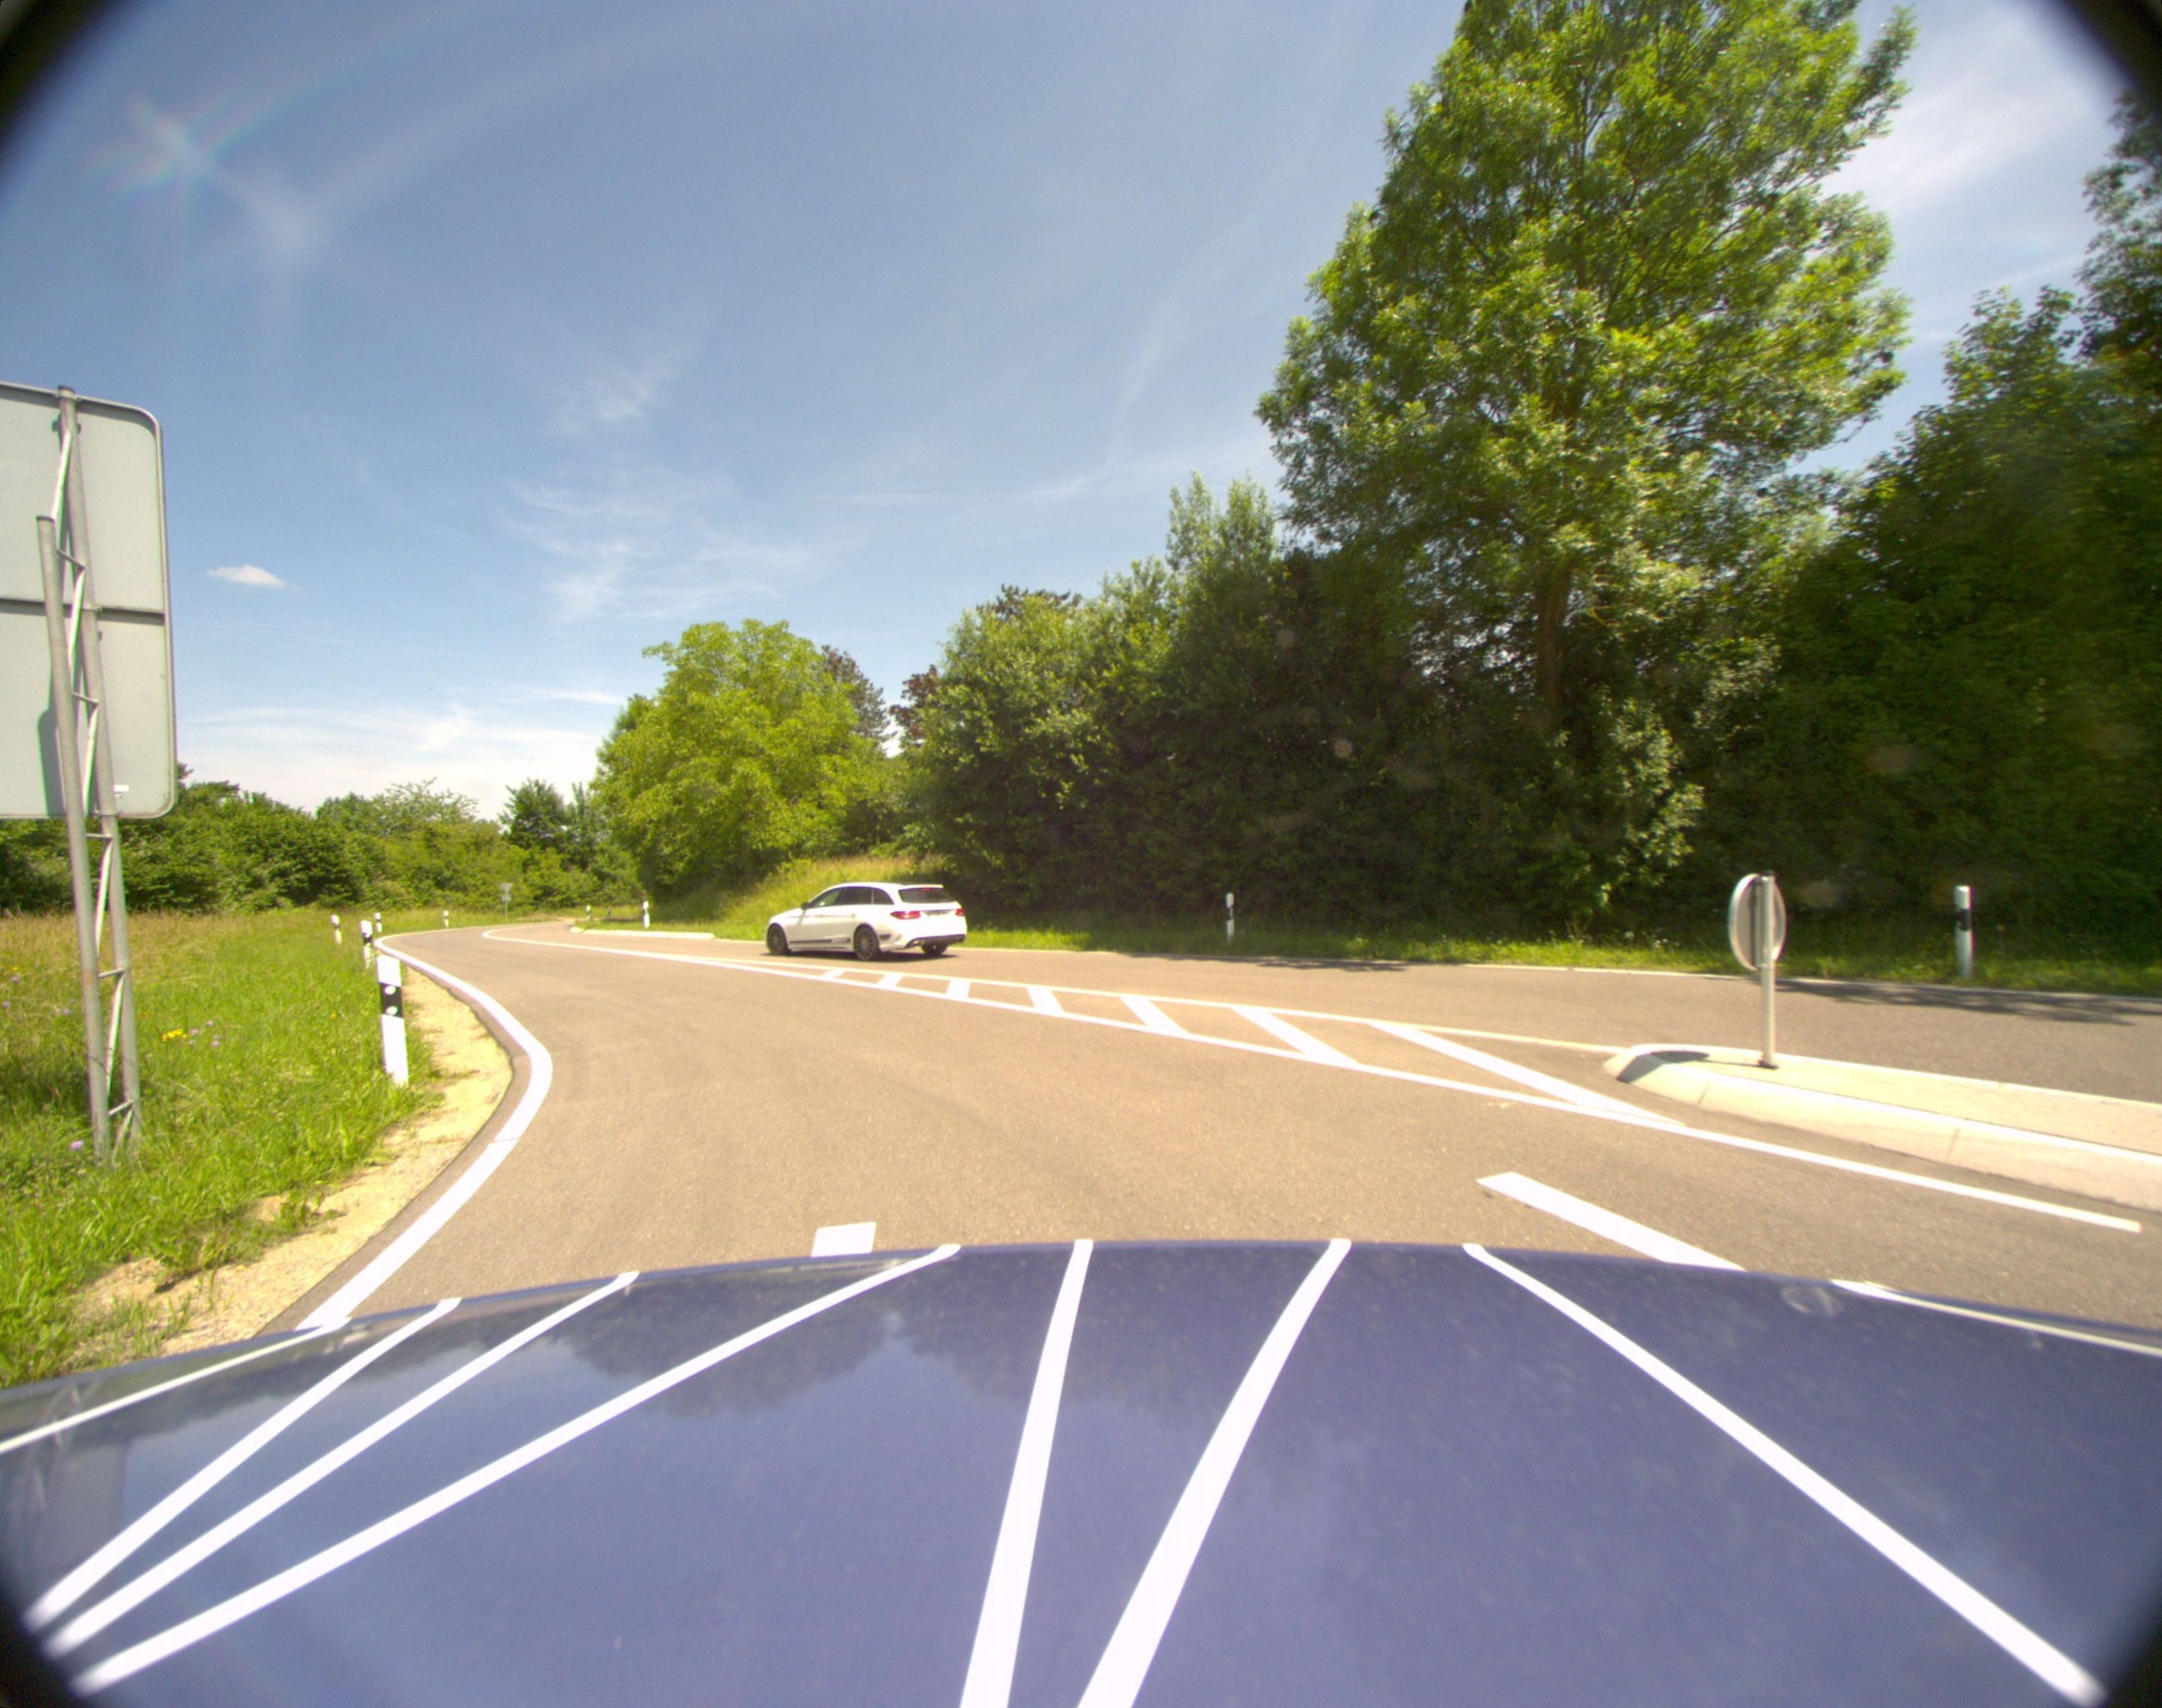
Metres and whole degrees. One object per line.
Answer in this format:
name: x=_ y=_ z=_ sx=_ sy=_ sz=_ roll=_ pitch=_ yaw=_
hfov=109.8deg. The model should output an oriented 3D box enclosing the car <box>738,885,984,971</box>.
car: x=-4.517 y=1.380 z=15.130 sx=5.320 sy=1.404 sz=1.814 roll=-3 pitch=-2 yaw=36
